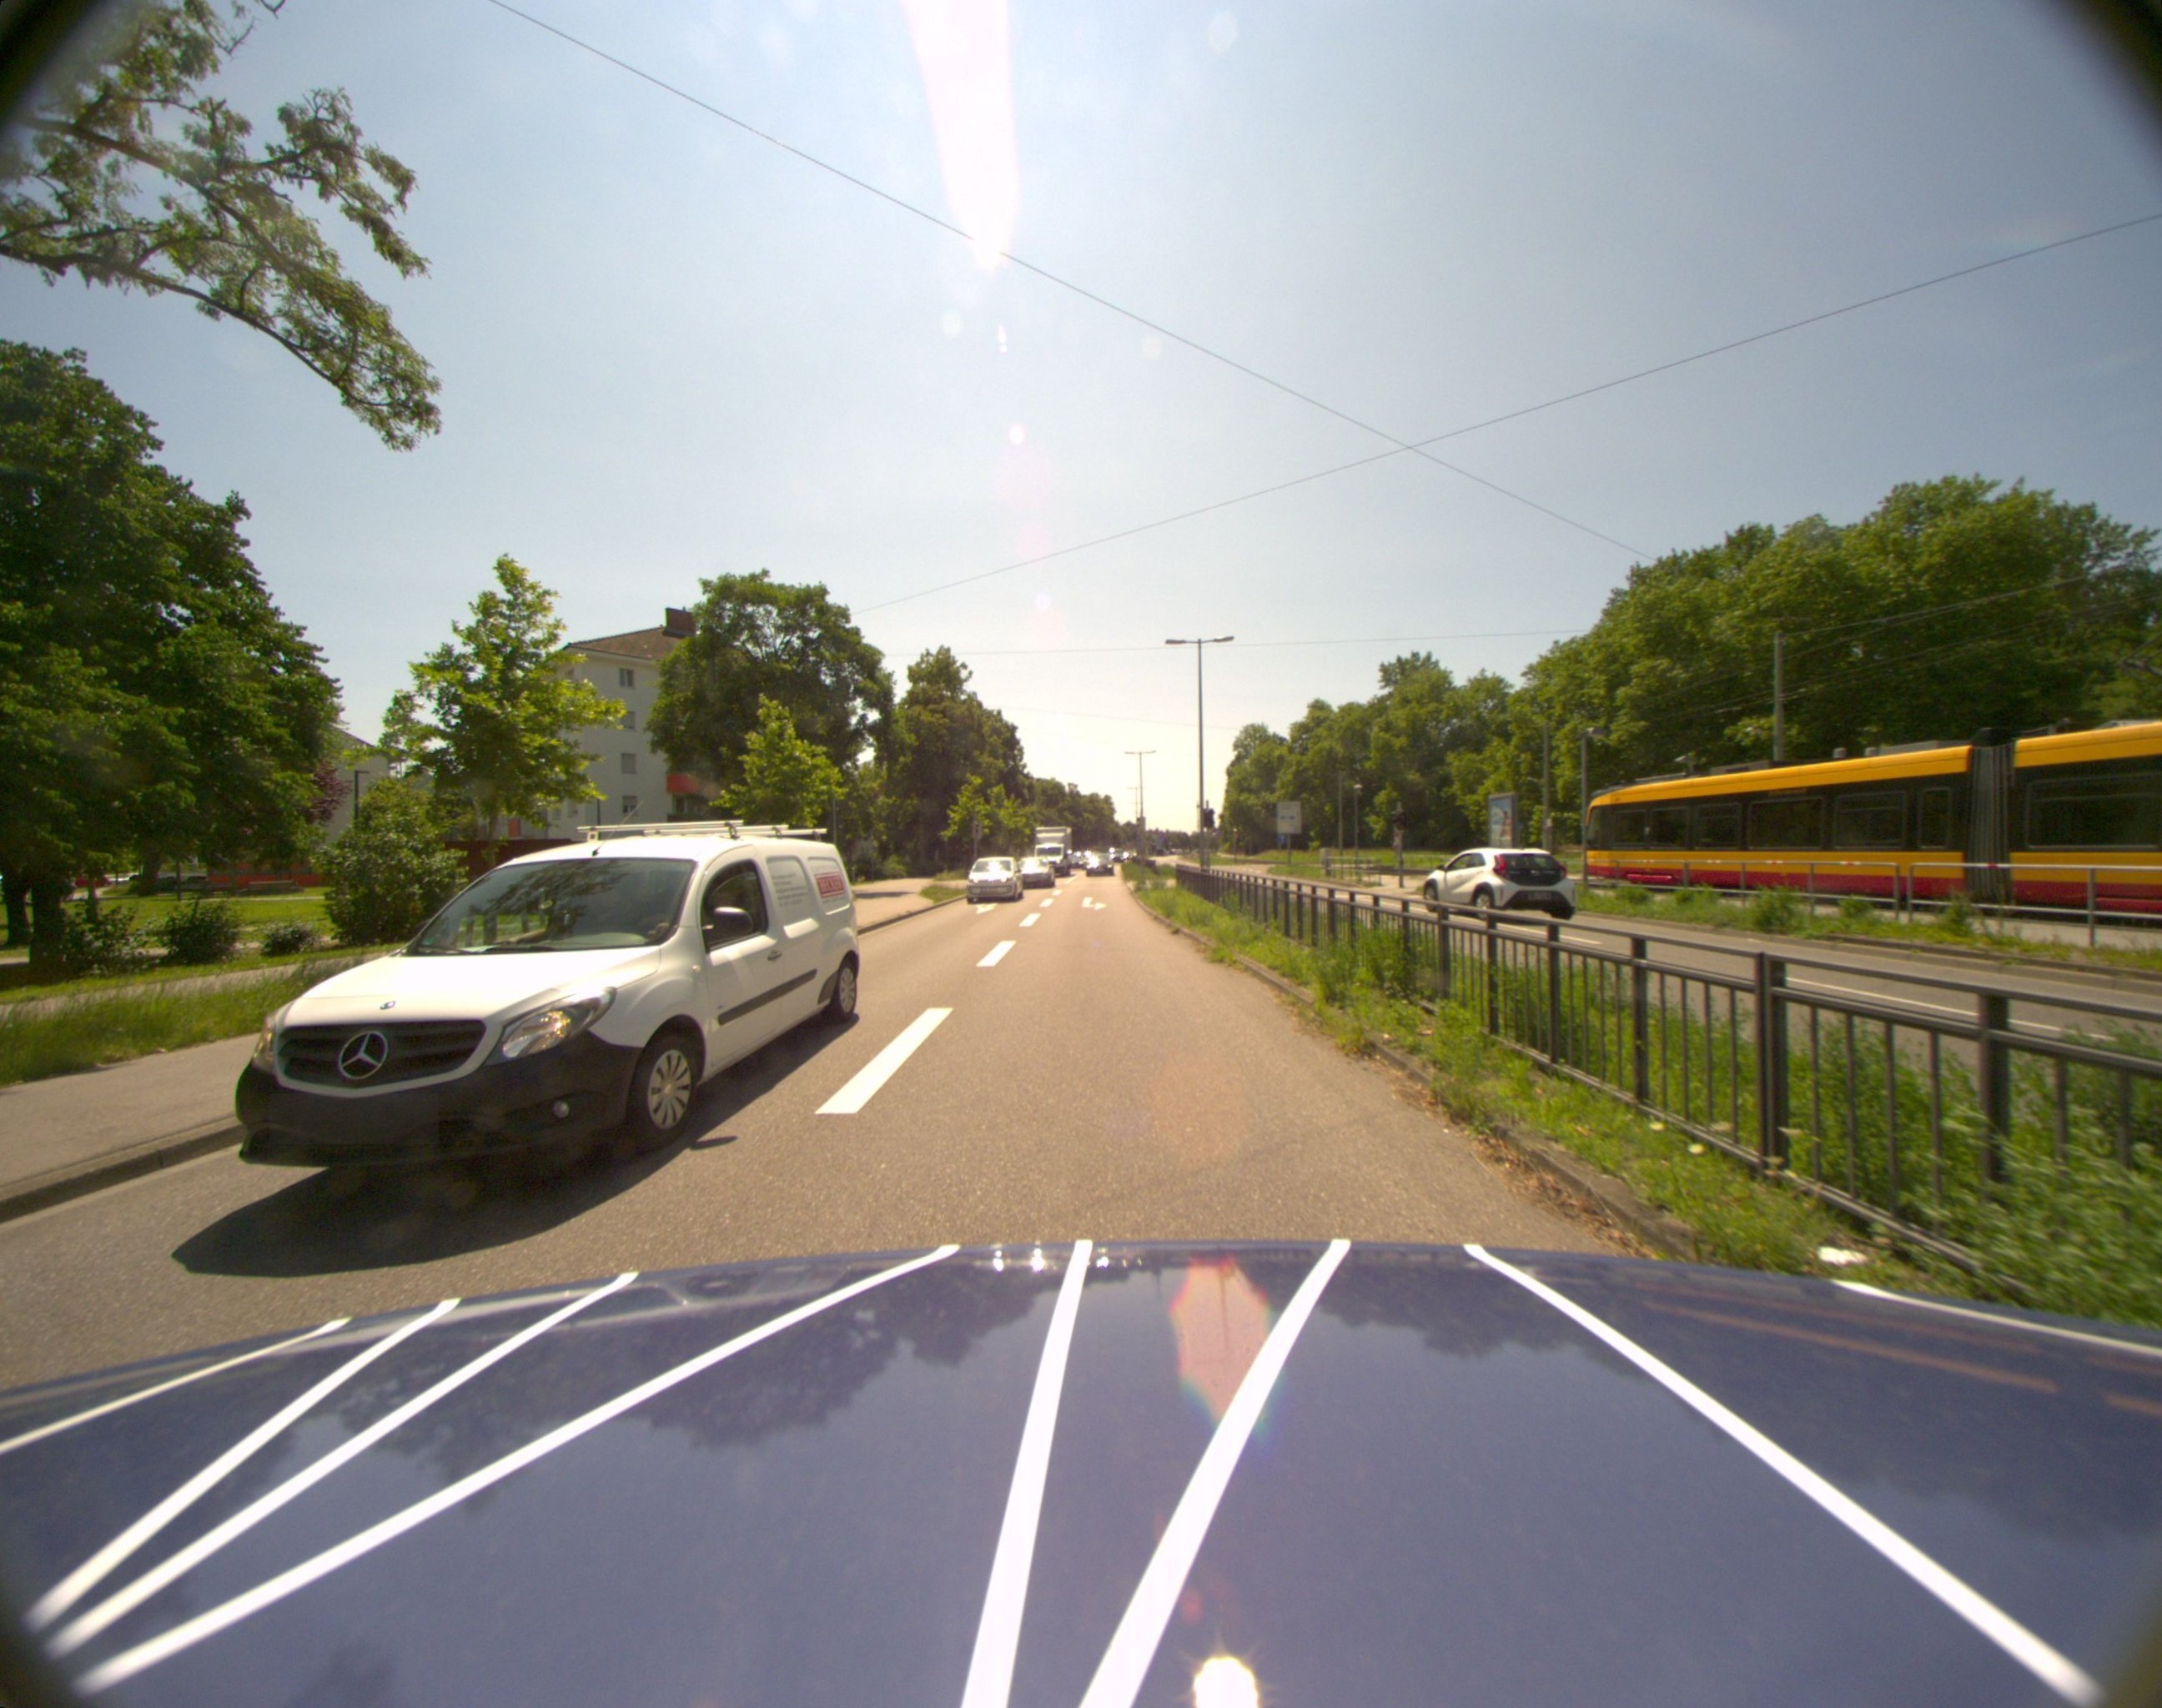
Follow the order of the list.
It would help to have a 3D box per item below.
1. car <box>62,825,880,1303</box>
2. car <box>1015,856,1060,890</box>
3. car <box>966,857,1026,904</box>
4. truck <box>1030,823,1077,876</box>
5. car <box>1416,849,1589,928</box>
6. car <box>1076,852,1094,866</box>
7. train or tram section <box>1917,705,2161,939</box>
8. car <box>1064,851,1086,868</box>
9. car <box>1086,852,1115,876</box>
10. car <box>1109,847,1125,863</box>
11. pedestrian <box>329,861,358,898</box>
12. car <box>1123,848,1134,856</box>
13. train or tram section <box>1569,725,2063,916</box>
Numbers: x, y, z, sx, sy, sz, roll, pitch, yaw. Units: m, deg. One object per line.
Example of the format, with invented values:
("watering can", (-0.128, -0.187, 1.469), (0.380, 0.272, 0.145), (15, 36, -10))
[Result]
("car", (-3.104, 0.828, 5.581), (1.809, 1.845, 5.081), (-3, 0, 0))
("car", (-1.962, 0.839, 35.417), (1.618, 1.373, 4.115), (-2, 1, 3))
("car", (-2.858, 0.856, 26.165), (1.626, 1.433, 3.498), (-2, 1, 0))
("truck", (-1.765, -0.318, 51.559), (2.489, 3.277, 6.606), (-1, 1, 4))
("car", (8.966, 0.659, 16.546), (1.773, 1.496, 3.720), (-1, 1, 2))
("car", (0.407, 0.489, 79.390), (1.618, 1.373, 4.115), (-2, 1, 3))
("train or tram section", (18.628, -0.546, 9.326), (3.051, 3.720, 12.595), (-3, 0, 2))
("car", (-0.530, 0.460, 67.440), (1.746, 1.382, 3.887), (-1, 1, 3))
("car", (1.270, 0.621, 48.924), (1.746, 1.382, 3.887), (-1, 1, 3))
("car", (4.241, 0.118, 89.894), (1.746, 1.840, 3.887), (-1, 1, 3))
("pedestrian", (-38.423, 1.331, 39.594), (0.887, 1.907, 0.756), (-2, 1, 27))
("car", (8.789, -0.312, 139.347), (1.745, 1.382, 3.889), (-1, 1, 8))
("train or tram section", (18.899, -0.730, 21.488), (2.957, 3.833, 11.540), (-3, 0, 2))
